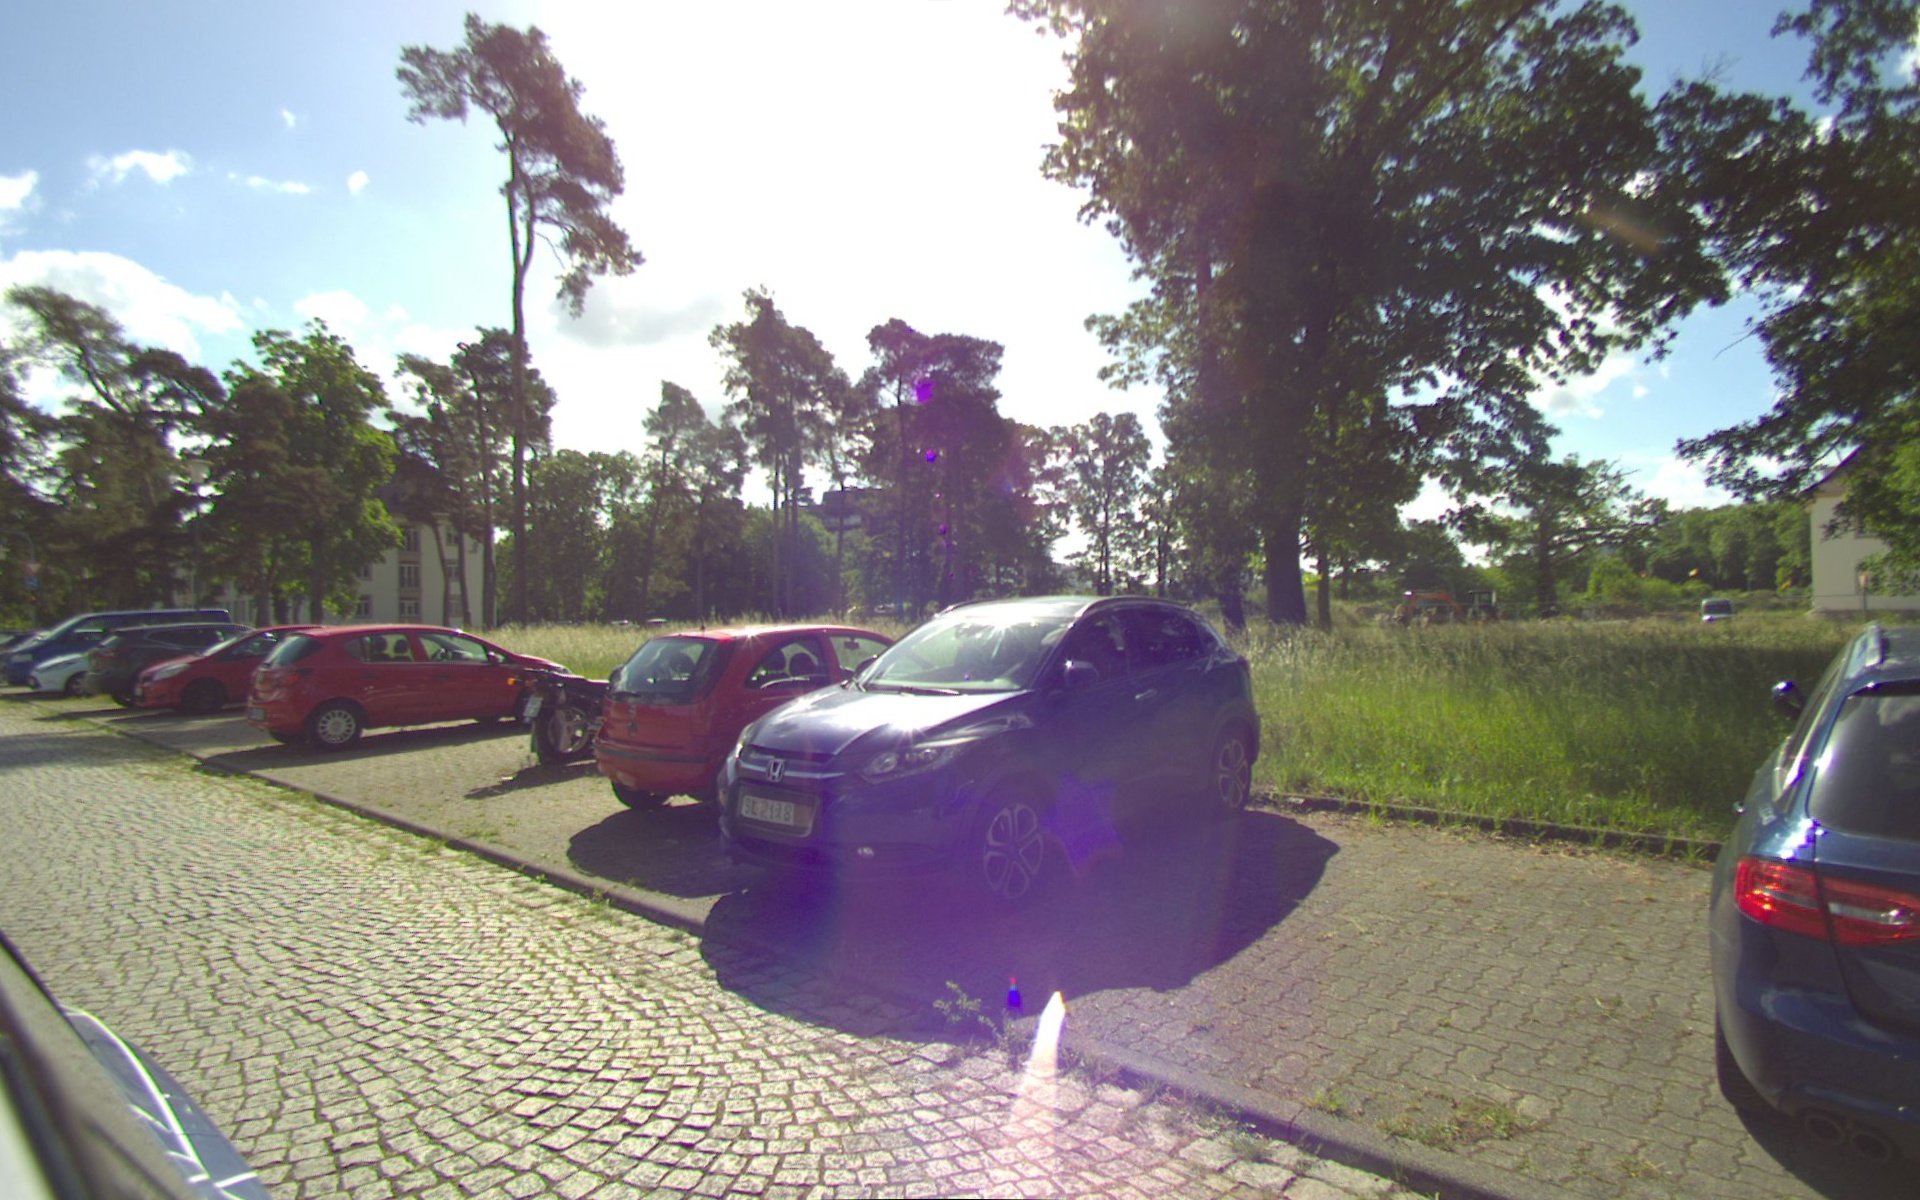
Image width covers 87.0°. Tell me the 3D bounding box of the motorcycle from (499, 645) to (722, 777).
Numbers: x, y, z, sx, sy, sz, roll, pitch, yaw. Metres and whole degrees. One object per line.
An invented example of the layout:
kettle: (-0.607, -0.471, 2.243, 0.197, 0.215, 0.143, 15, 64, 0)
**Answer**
motorcycle: (-3.633, 1.112, 10.712, 0.577, 1.170, 2.218, -2, -1, 42)

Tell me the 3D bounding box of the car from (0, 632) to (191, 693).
car: (-25.464, 1.779, 29.850, 1.823, 1.486, 4.153, -2, -1, 41)

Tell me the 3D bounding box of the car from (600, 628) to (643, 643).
car: (-36.612, 3.814, 109.481, 1.720, 1.593, 4.050, -2, -2, 43)

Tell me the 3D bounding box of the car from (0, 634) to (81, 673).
car: (-39.301, 2.244, 42.006, 1.947, 1.494, 3.987, -3, -1, 39)

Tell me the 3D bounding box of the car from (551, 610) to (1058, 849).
car: (-1.101, 0.864, 8.464, 1.842, 1.444, 3.881, -3, -1, 42)

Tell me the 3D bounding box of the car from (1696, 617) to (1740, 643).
car: (56.231, 2.212, 75.132, 1.986, 1.868, 4.097, -1, -2, 29)

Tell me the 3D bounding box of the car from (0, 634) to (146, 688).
car: (-27.967, 1.867, 31.359, 1.922, 1.436, 4.033, -2, -1, 42)

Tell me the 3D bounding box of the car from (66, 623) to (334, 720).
car: (-15.036, 1.344, 20.172, 1.972, 1.579, 3.914, -3, -1, 40)

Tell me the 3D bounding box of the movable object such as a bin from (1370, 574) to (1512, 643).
movable object such as a bin: (27.466, 0.539, 58.216, 6.734, 3.759, 3.908, -1, -2, 18)

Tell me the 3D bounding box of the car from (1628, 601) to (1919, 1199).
car: (3.787, 0.740, 3.280, 1.921, 1.456, 4.311, -3, -1, 44)

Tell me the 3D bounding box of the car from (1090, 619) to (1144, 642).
car: (11.468, 2.233, 73.912, 1.912, 1.617, 4.183, -2, -2, 42)

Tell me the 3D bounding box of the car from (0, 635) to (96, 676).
car: (-37.446, 2.220, 40.147, 1.981, 1.463, 4.538, -1, 0, 38)

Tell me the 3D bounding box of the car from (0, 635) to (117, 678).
car: (-35.324, 2.148, 38.445, 1.938, 1.431, 4.814, -1, 0, 41)

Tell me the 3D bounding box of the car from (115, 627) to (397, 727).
car: (-12.804, 1.328, 18.578, 1.865, 1.460, 3.884, -3, 0, 40)

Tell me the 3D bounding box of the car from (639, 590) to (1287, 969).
car: (0.309, 0.770, 6.439, 1.883, 1.591, 4.092, -3, -1, 41)

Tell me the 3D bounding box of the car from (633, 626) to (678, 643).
car: (-31.290, 3.551, 104.038, 1.841, 1.642, 4.002, -2, -3, 43)

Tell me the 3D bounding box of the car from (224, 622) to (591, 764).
car: (-7.191, 1.115, 13.469, 1.840, 1.472, 3.884, -3, -1, 40)

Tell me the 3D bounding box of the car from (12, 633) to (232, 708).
car: (-19.927, 1.610, 24.188, 1.681, 1.451, 3.779, -2, 0, 38)

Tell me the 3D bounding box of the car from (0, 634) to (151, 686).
car: (-29.705, 1.947, 33.755, 1.821, 1.463, 4.033, -1, 0, 42)

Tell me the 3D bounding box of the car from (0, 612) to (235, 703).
car: (-21.747, 1.386, 26.030, 2.004, 1.983, 4.669, -2, 0, 41)

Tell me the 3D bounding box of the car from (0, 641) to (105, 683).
car: (-32.093, 2.133, 35.068, 1.760, 1.243, 3.592, -1, 0, 42)

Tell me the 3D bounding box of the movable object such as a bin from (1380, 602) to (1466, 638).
movable object such as a bin: (29.031, 1.304, 63.706, 2.491, 2.142, 5.683, -1, -1, -3)

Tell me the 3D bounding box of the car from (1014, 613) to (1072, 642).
car: (6.437, 2.113, 78.090, 1.957, 2.180, 4.794, -2, -2, 42)
